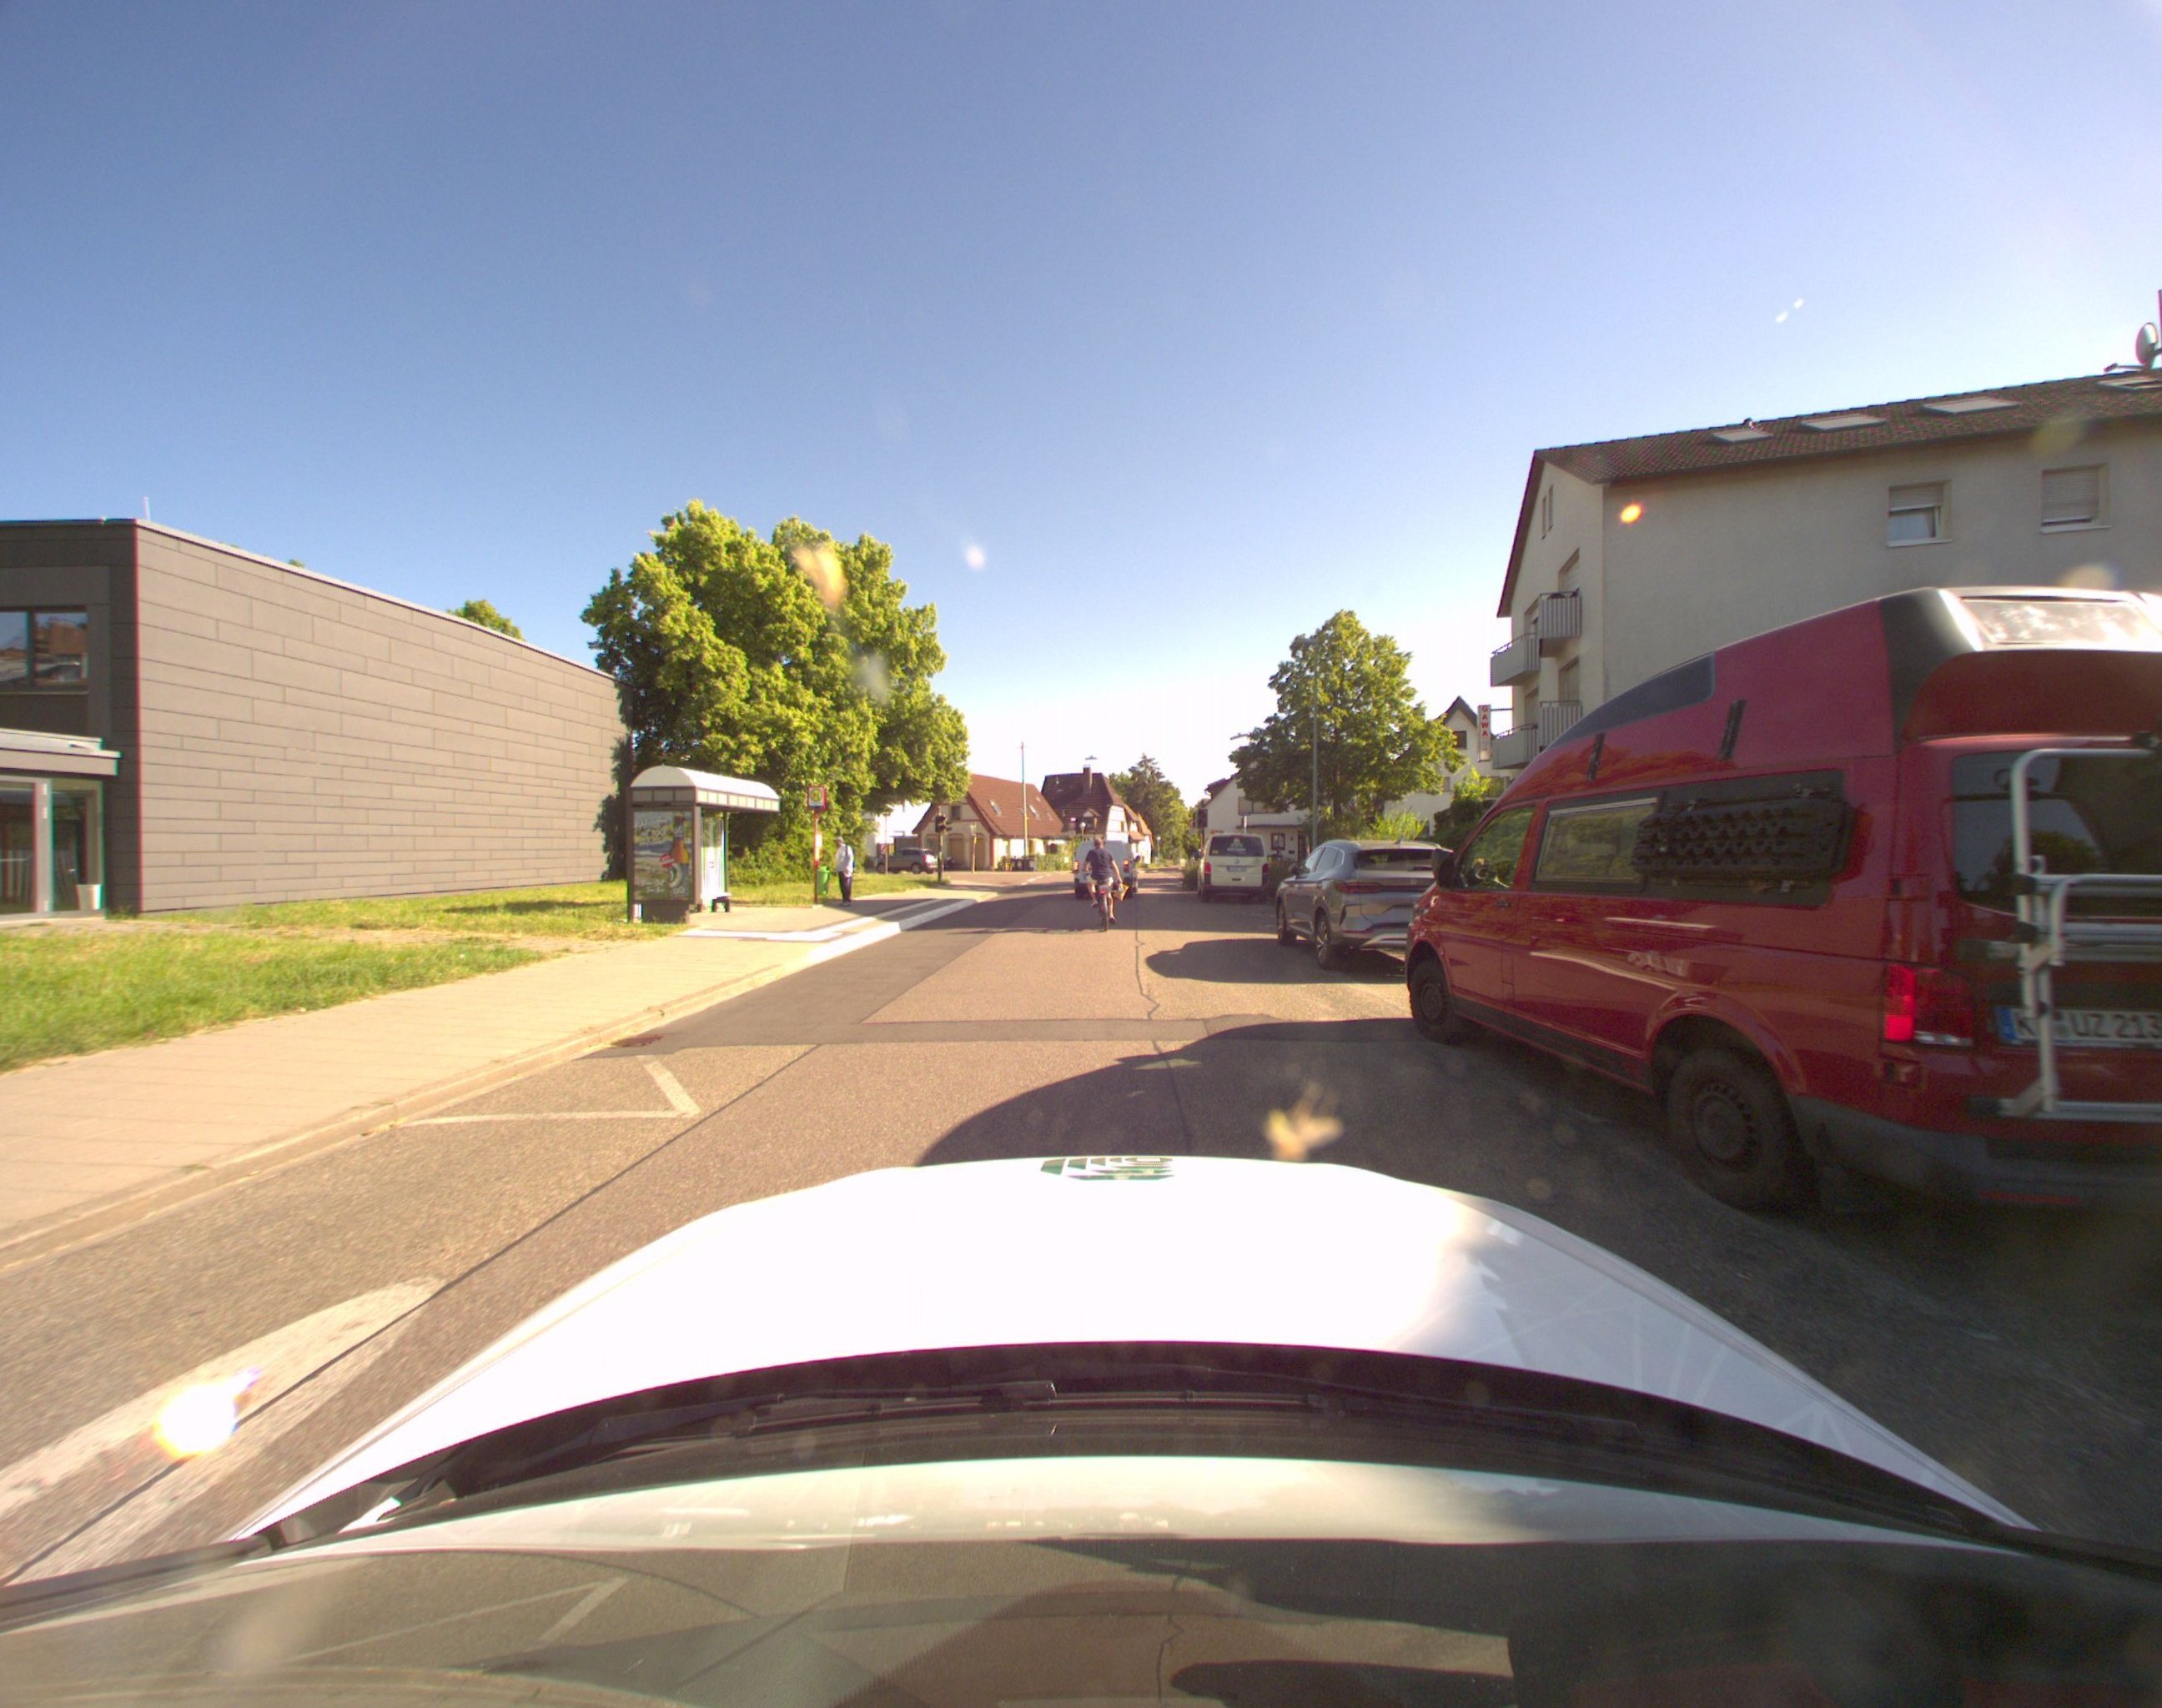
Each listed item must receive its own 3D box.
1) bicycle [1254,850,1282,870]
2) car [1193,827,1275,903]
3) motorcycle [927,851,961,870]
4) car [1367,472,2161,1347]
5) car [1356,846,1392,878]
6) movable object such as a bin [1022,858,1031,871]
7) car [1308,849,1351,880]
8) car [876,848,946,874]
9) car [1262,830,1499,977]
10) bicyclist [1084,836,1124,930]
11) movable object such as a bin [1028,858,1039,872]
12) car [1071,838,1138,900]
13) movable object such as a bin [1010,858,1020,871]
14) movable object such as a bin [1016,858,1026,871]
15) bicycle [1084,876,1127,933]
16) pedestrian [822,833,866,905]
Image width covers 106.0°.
[{"bbox_3d":[11.939,0.384,51.994,1.725,1.283,0.702,0,0,12],"label":"bicycle"},{"bbox_3d":[4.501,0.306,24.624,1.984,2.079,4.583,0,0,5],"label":"car"},{"bbox_3d":[-9.722,0.443,57.745,2.222,1.295,0.887,-1,3,22],"label":"motorcycle"},{"bbox_3d":[3.686,0.156,5.086,1.951,2.644,5.223,1,0,0],"label":"car"},{"bbox_3d":[15.985,0.395,44.344,1.693,1.517,4.427,1,2,21],"label":"car"},{"bbox_3d":[-3.778,0.742,56.826,0.407,0.924,0.629,0,0,22],"label":"movable object such as a bin"},{"bbox_3d":[13.538,0.521,44.563,1.979,1.421,4.821,0,2,14],"label":"car"},{"bbox_3d":[-11.316,0.449,54.300,4.184,1.725,1.956,0,0,21],"label":"car"},{"bbox_3d":[4.089,0.576,12.039,1.950,1.738,4.578,1,0,2],"label":"car"},{"bbox_3d":[0.437,0.541,15.893,0.762,1.788,0.853,0,0,0],"label":"bicyclist"},{"bbox_3d":[-3.301,0.744,56.640,0.551,0.924,0.629,0,0,22],"label":"movable object such as a bin"},{"bbox_3d":[0.865,0.404,26.934,1.948,1.848,4.566,-1,1,5],"label":"car"},{"bbox_3d":[-4.632,0.747,57.193,0.503,0.924,0.629,0,0,22],"label":"movable object such as a bin"},{"bbox_3d":[-4.190,0.741,56.978,0.408,0.906,0.629,0,1,22],"label":"movable object such as a bin"},{"bbox_3d":[0.453,0.951,15.971,0.772,0.940,2.291,-1,0,0],"label":"bicycle"},{"bbox_3d":[-6.139,0.366,21.096,0.709,1.802,0.775,2,1,28],"label":"pedestrian"}]
